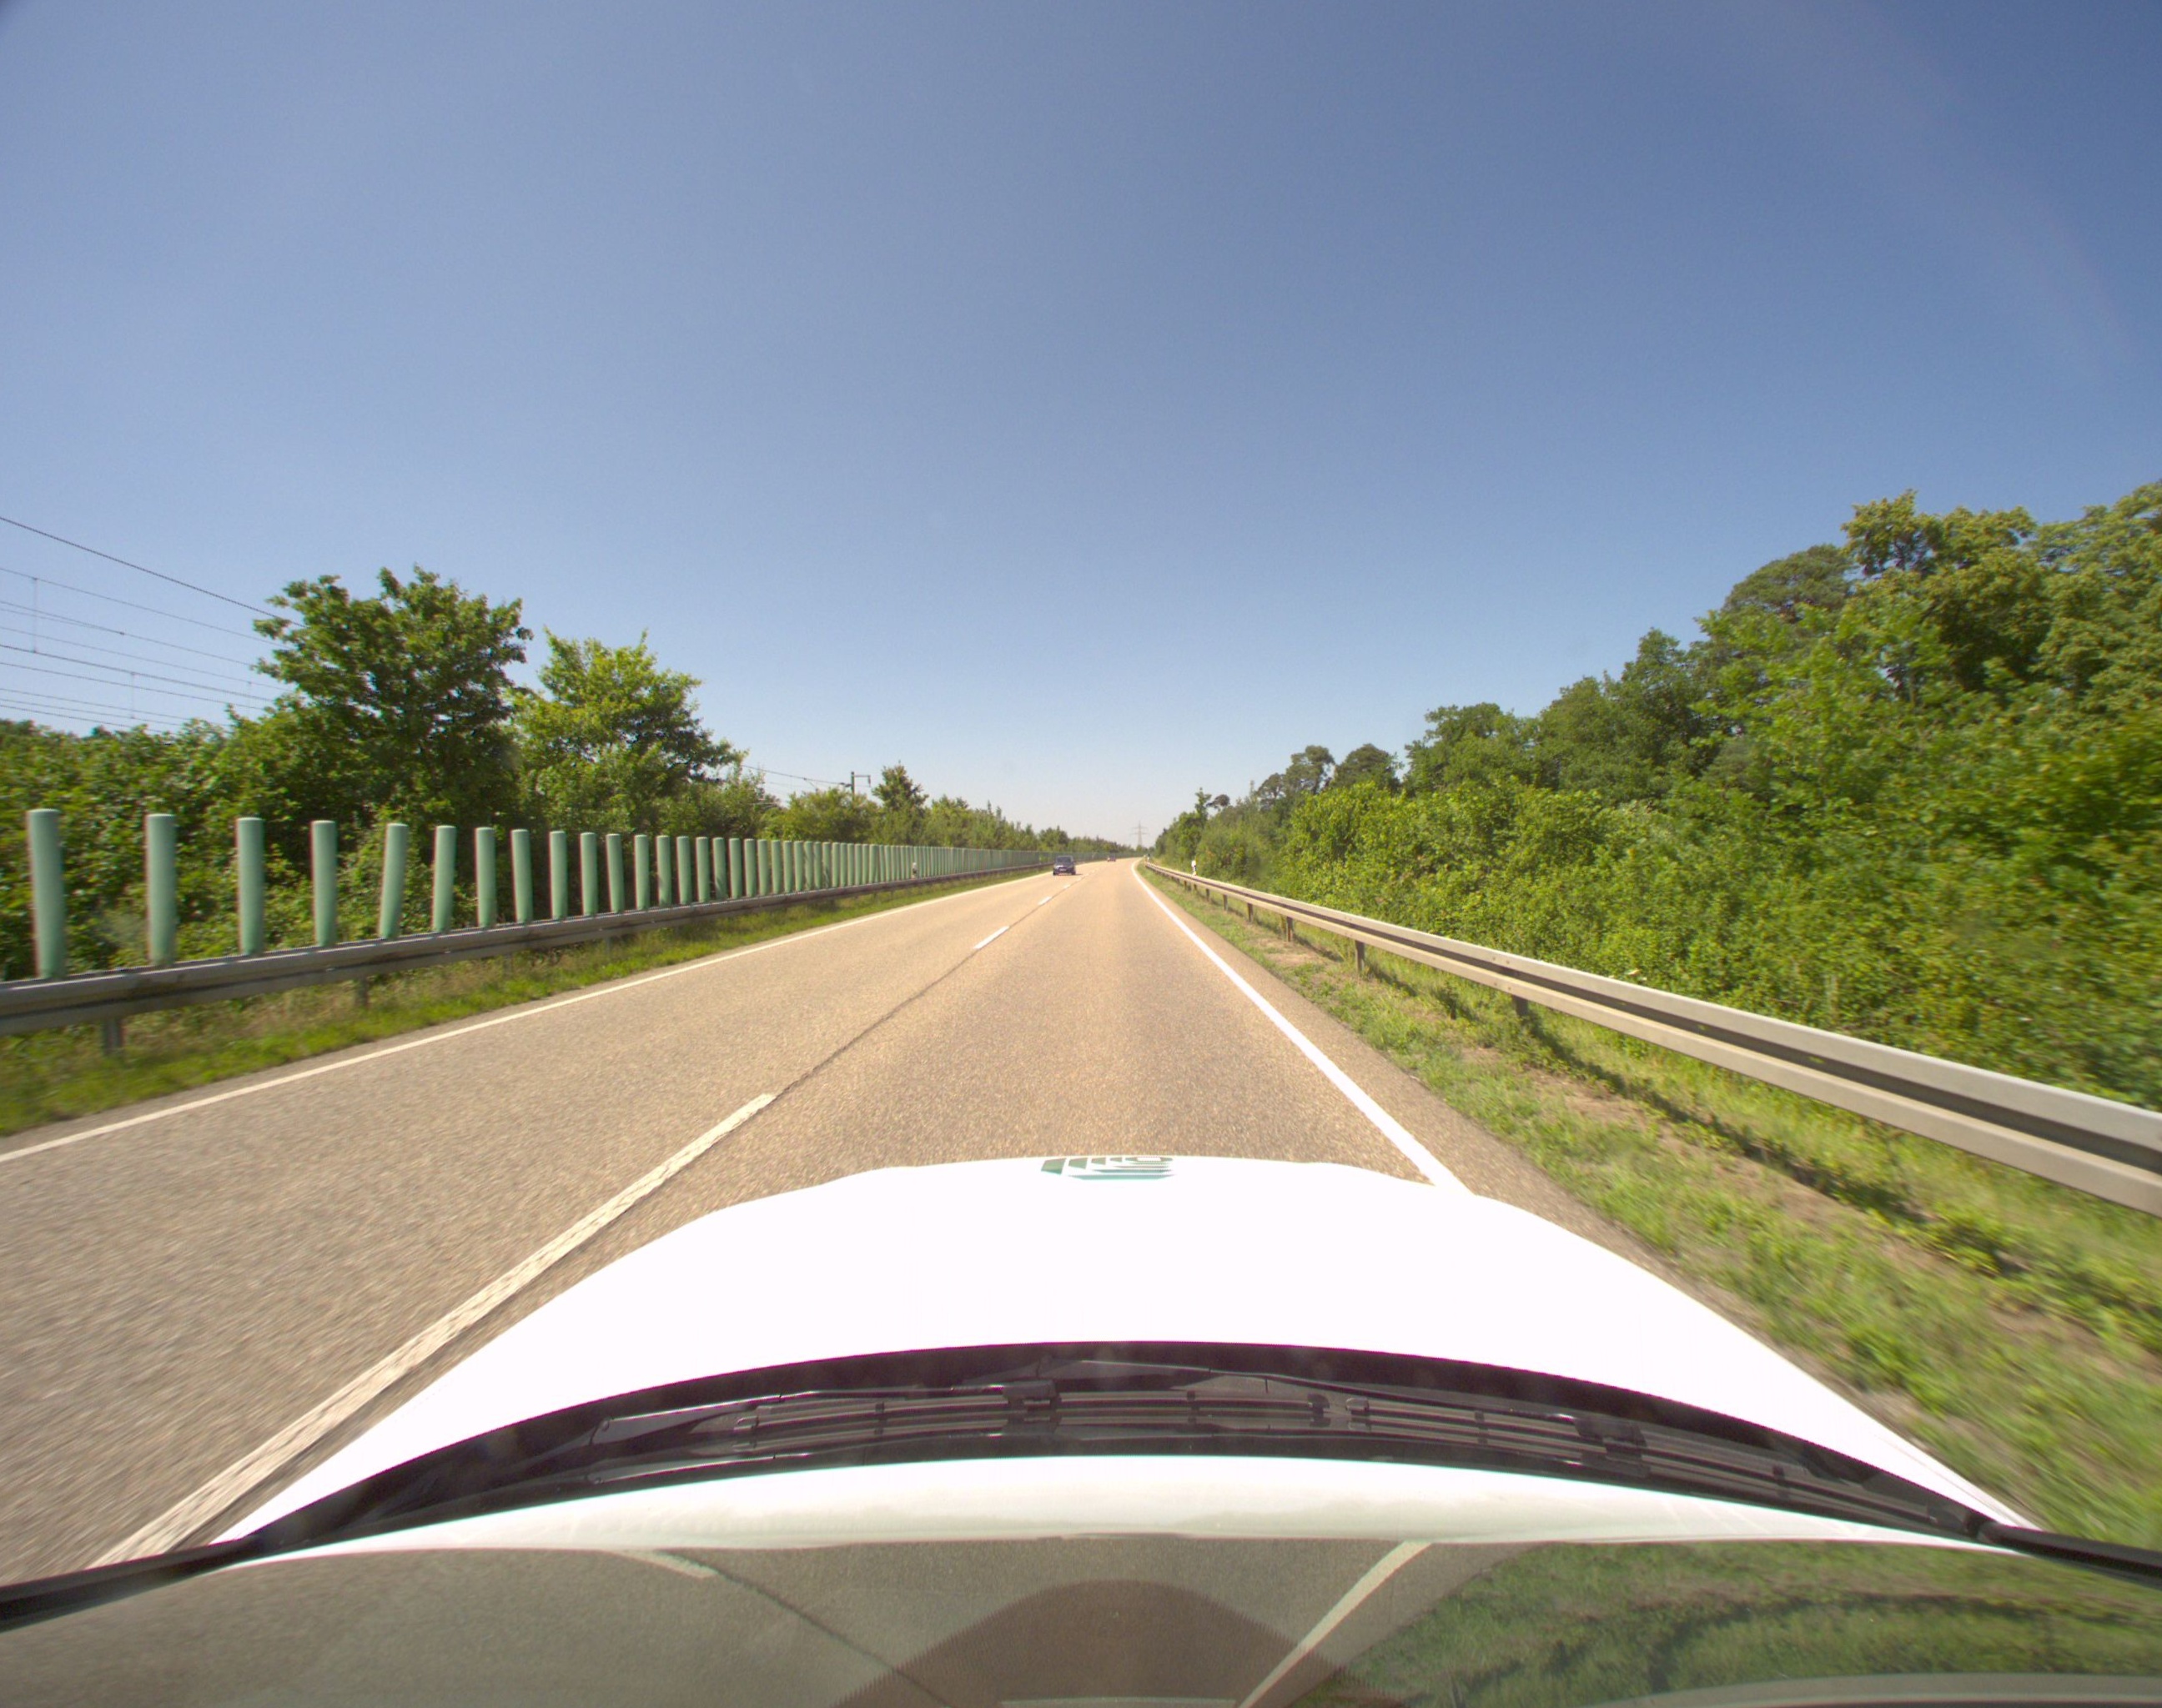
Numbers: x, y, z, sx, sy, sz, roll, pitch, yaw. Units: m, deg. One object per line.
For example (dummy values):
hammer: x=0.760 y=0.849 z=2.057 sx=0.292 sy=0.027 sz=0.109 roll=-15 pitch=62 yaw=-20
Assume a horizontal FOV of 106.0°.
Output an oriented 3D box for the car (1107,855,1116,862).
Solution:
car: x=6.643 y=0.972 z=178.500 sx=1.779 sy=1.371 sz=3.901 roll=-1 pitch=0 yaw=3

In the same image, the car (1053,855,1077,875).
car: x=-1.229 y=0.831 z=64.049 sx=1.642 sy=1.479 sz=3.678 roll=-1 pitch=0 yaw=1
